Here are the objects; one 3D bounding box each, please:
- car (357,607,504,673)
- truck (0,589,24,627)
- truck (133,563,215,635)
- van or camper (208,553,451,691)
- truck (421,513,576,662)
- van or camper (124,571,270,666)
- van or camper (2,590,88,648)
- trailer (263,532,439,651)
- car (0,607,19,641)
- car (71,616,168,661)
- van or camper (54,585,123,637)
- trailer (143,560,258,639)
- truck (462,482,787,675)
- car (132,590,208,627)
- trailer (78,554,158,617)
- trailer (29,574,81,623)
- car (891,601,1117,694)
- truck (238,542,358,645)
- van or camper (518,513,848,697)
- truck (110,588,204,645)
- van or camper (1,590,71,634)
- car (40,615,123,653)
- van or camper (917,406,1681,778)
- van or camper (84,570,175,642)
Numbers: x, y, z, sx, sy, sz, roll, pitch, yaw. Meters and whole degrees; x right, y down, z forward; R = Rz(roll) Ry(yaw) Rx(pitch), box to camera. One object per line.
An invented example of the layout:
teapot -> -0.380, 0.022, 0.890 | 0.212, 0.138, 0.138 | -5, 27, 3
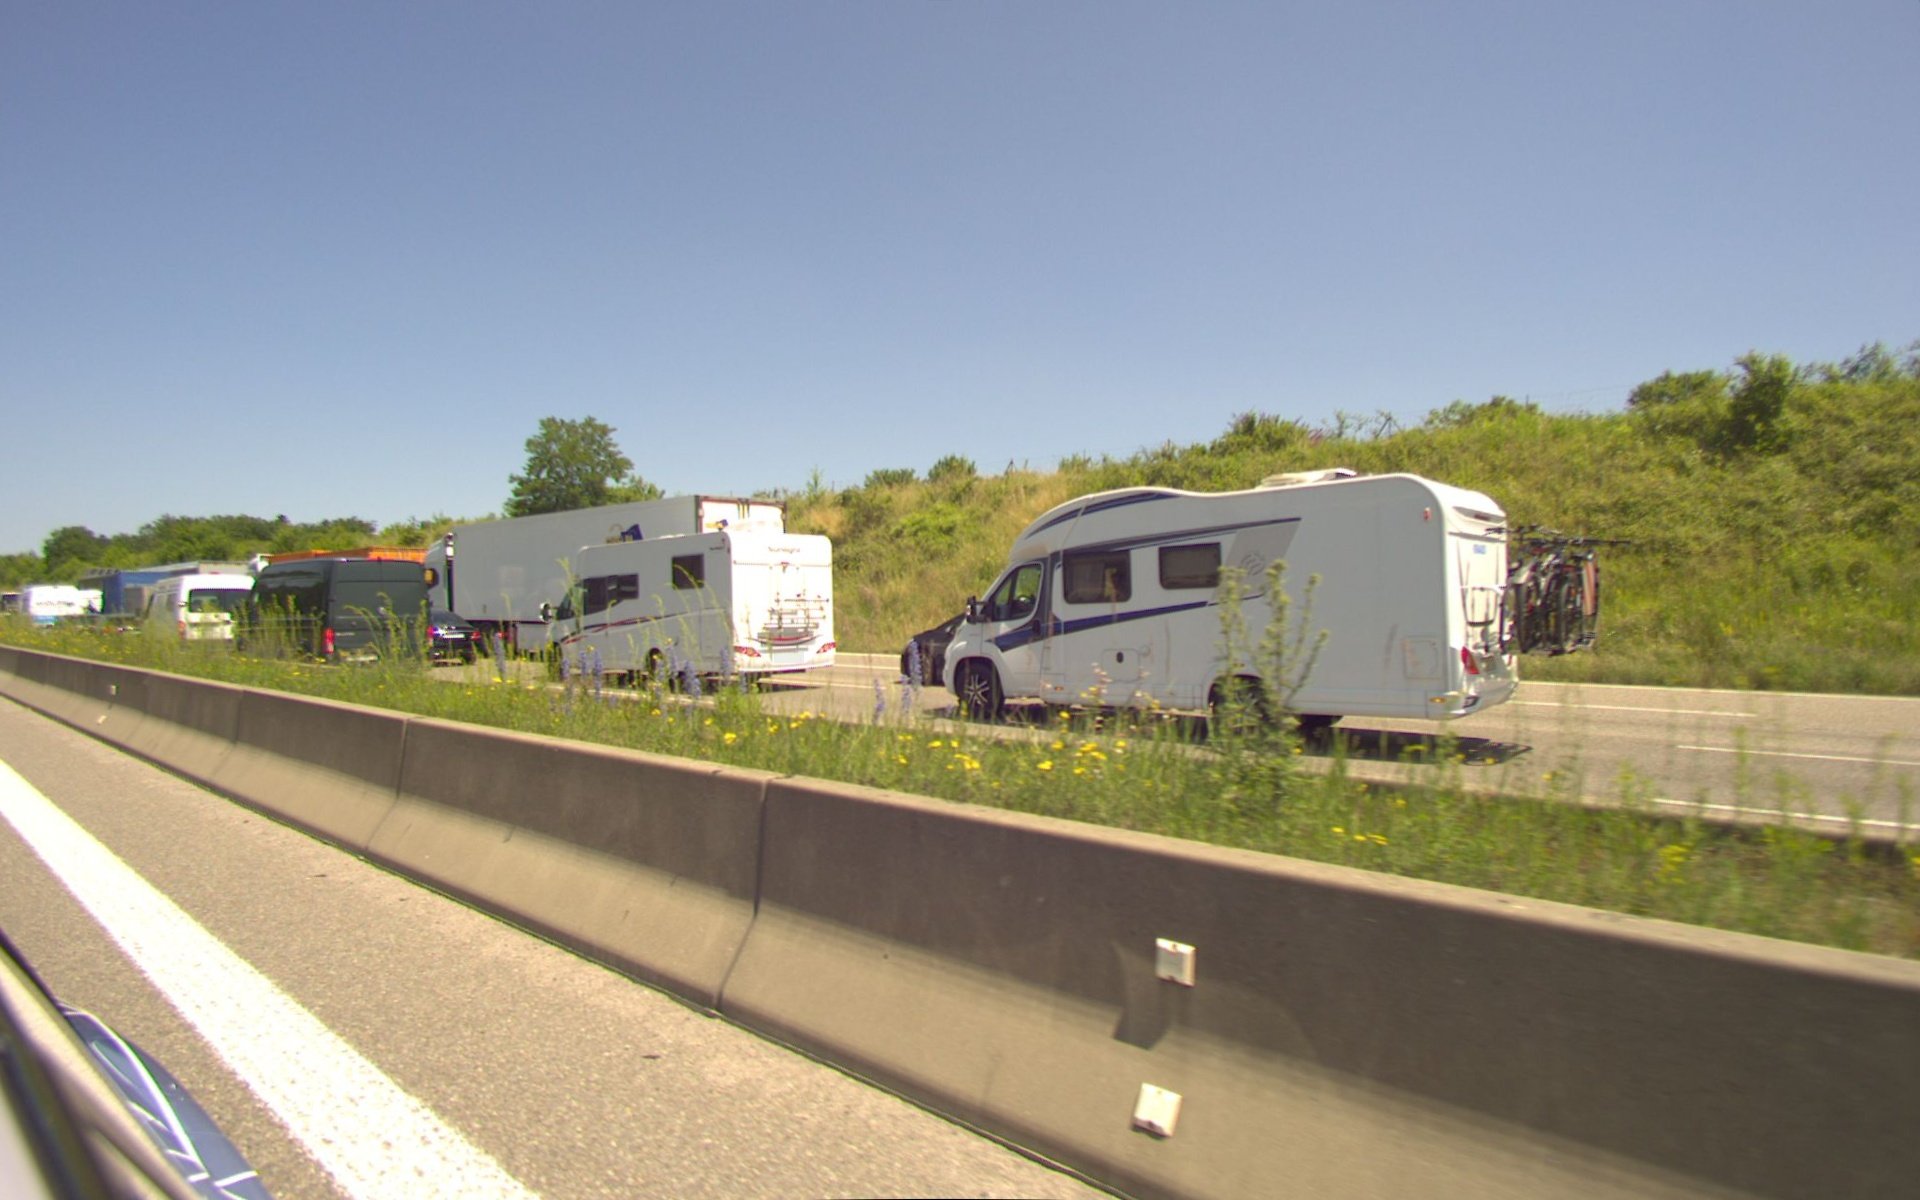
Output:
car -> -14.204, 0.995, 27.022 | 4.880, 1.600, 1.800 | 0, -1, 41
truck -> -109.561, 0.915, 115.310 | 11.481, 4.253, 3.024 | 0, 0, 41
truck -> -47.820, -0.069, 61.524 | 6.138, 4.158, 2.772 | 0, 0, 41
van or camper -> -13.391, 0.414, 21.209 | 7.279, 2.453, 2.273 | 0, -1, 41
truck -> -14.885, -0.383, 32.449 | 5.665, 4.358, 2.493 | 0, 0, 43
van or camper -> -22.327, 0.506, 29.496 | 6.054, 2.525, 2.170 | 0, -1, 41
van or camper -> -42.567, 0.848, 47.010 | 6.413, 2.560, 2.170 | 0, -1, 41
trailer -> -25.453, -0.292, 41.870 | 11.993, 4.342, 2.585 | 0, 0, 41
car -> -52.246, 1.277, 54.527 | 4.933, 1.743, 1.793 | 0, 1, 41
car -> -29.033, 1.285, 34.897 | 4.880, 1.419, 1.800 | 0, -1, 41
van or camper -> -52.417, 0.660, 60.787 | 7.221, 2.945, 2.128 | 0, 0, 41
trailer -> -43.330, -0.014, 57.532 | 12.245, 4.064, 2.752 | 0, 0, 41
truck -> -9.714, -0.470, 27.795 | 12.416, 4.358, 2.494 | 0, 0, 41
car -> -32.896, 0.344, 42.114 | 4.111, 1.476, 1.713 | 0, -1, 41
trailer -> -60.266, -0.964, 72.331 | 10.788, 4.272, 2.760 | 0, 0, 41
trailer -> -84.481, -0.103, 94.423 | 11.713, 4.337, 2.750 | 0, -1, 44
car -> 0.723, 0.783, 18.319 | 3.925, 1.508, 1.676 | 0, -1, 41
truck -> -30.157, -0.271, 45.952 | 7.288, 4.358, 2.563 | 0, 0, 40
van or camper -> -5.716, 0.105, 19.848 | 7.827, 2.959, 2.517 | 0, -1, 43
truck -> -37.850, 0.761, 47.613 | 6.858, 2.524, 2.211 | 0, -1, 41
van or camper -> -66.490, 0.821, 72.757 | 8.109, 2.970, 2.812 | 0, 1, 41
car -> -35.187, 1.329, 40.511 | 4.428, 1.419, 1.882 | 0, -1, 41
van or camper -> 3.244, -0.038, 11.761 | 8.130, 2.959, 2.517 | 0, -1, 43
van or camper -> -42.299, 0.294, 51.435 | 7.675, 3.416, 2.289 | 0, -1, 41
